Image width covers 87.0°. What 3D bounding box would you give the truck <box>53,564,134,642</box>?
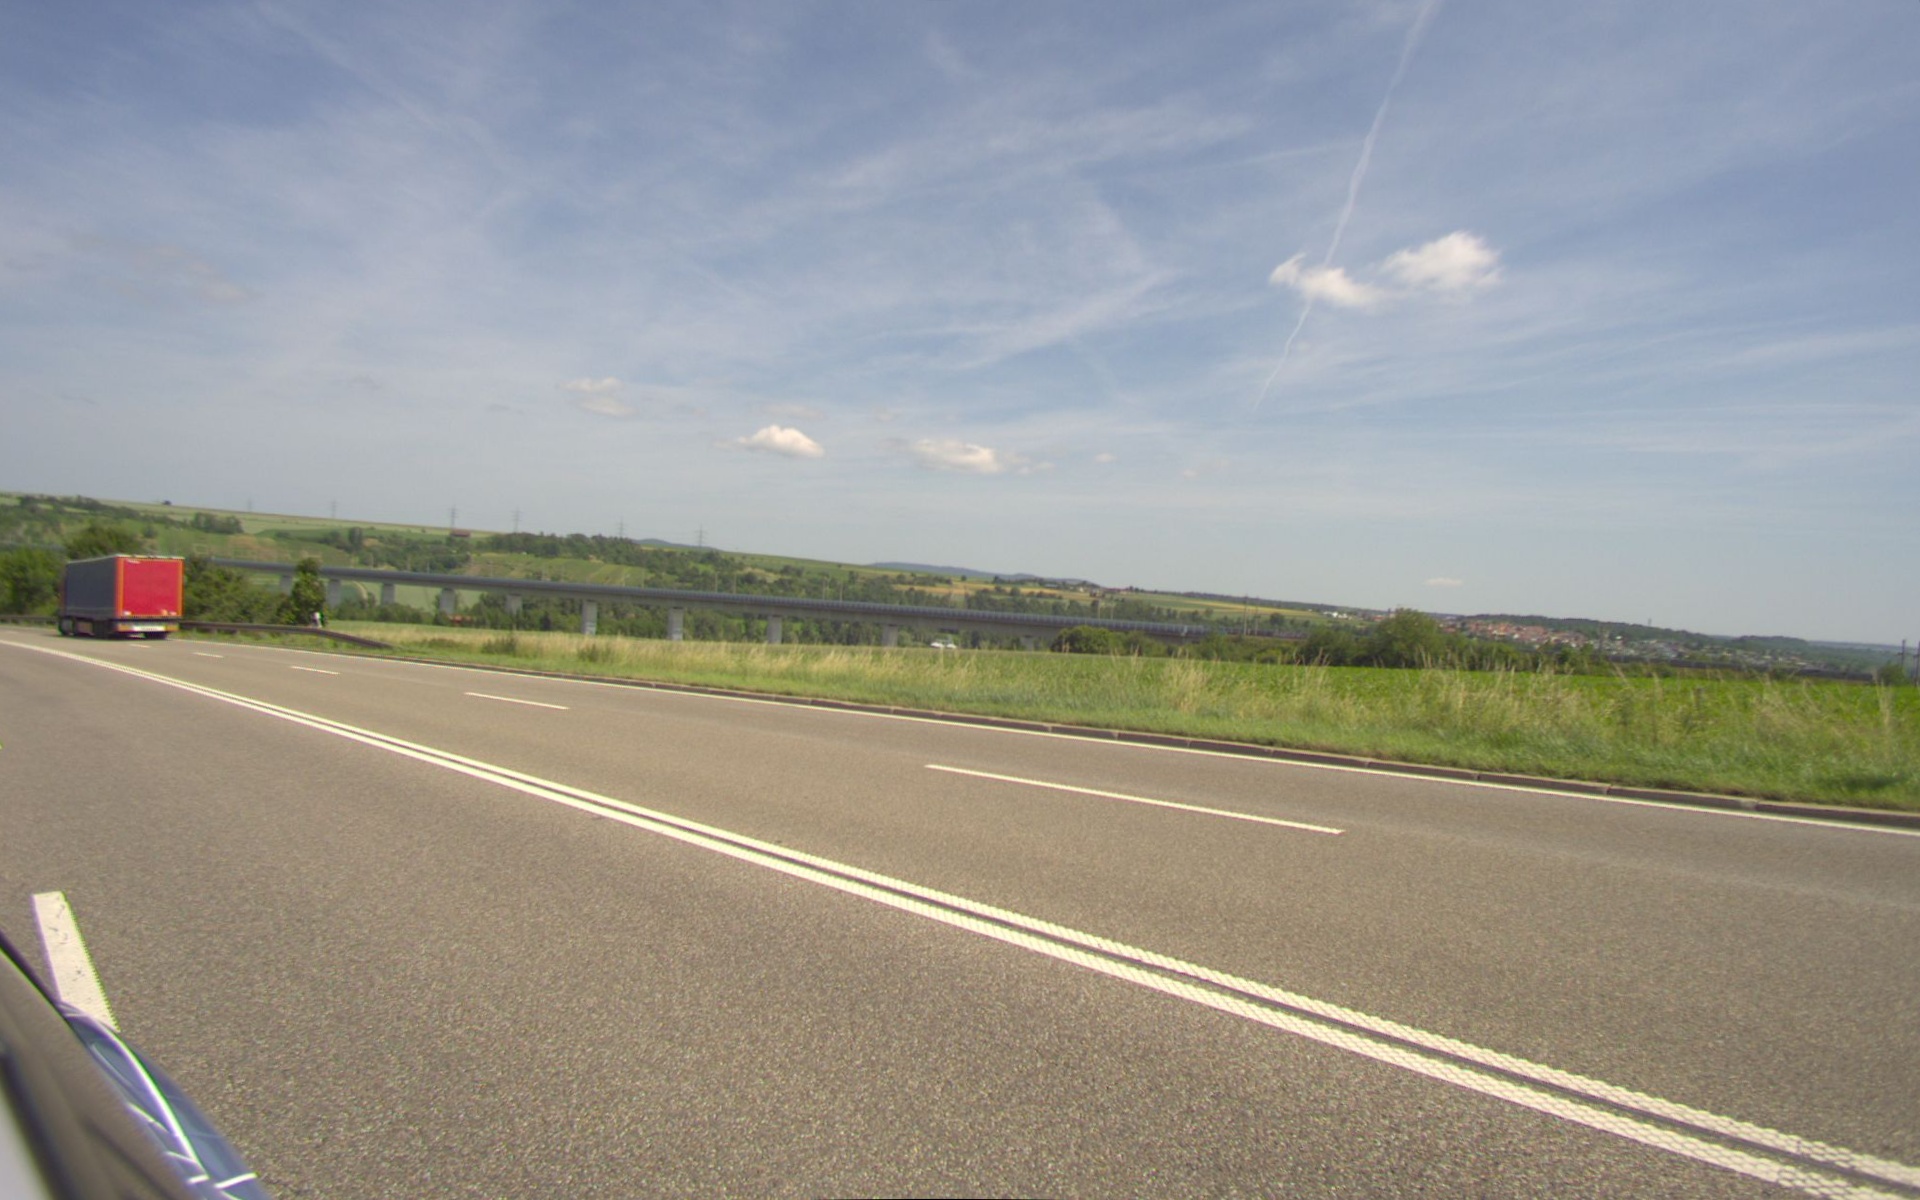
[{"bbox_3d":[-48.791,0.207,56.928,6.086,4.133,2.589,-1,-2,42],"label":"truck"}]

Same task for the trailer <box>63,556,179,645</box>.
[{"bbox_3d":[-43.798,0.113,52.584,13.578,4.133,2.518,-1,-2,42],"label":"trailer"}]
